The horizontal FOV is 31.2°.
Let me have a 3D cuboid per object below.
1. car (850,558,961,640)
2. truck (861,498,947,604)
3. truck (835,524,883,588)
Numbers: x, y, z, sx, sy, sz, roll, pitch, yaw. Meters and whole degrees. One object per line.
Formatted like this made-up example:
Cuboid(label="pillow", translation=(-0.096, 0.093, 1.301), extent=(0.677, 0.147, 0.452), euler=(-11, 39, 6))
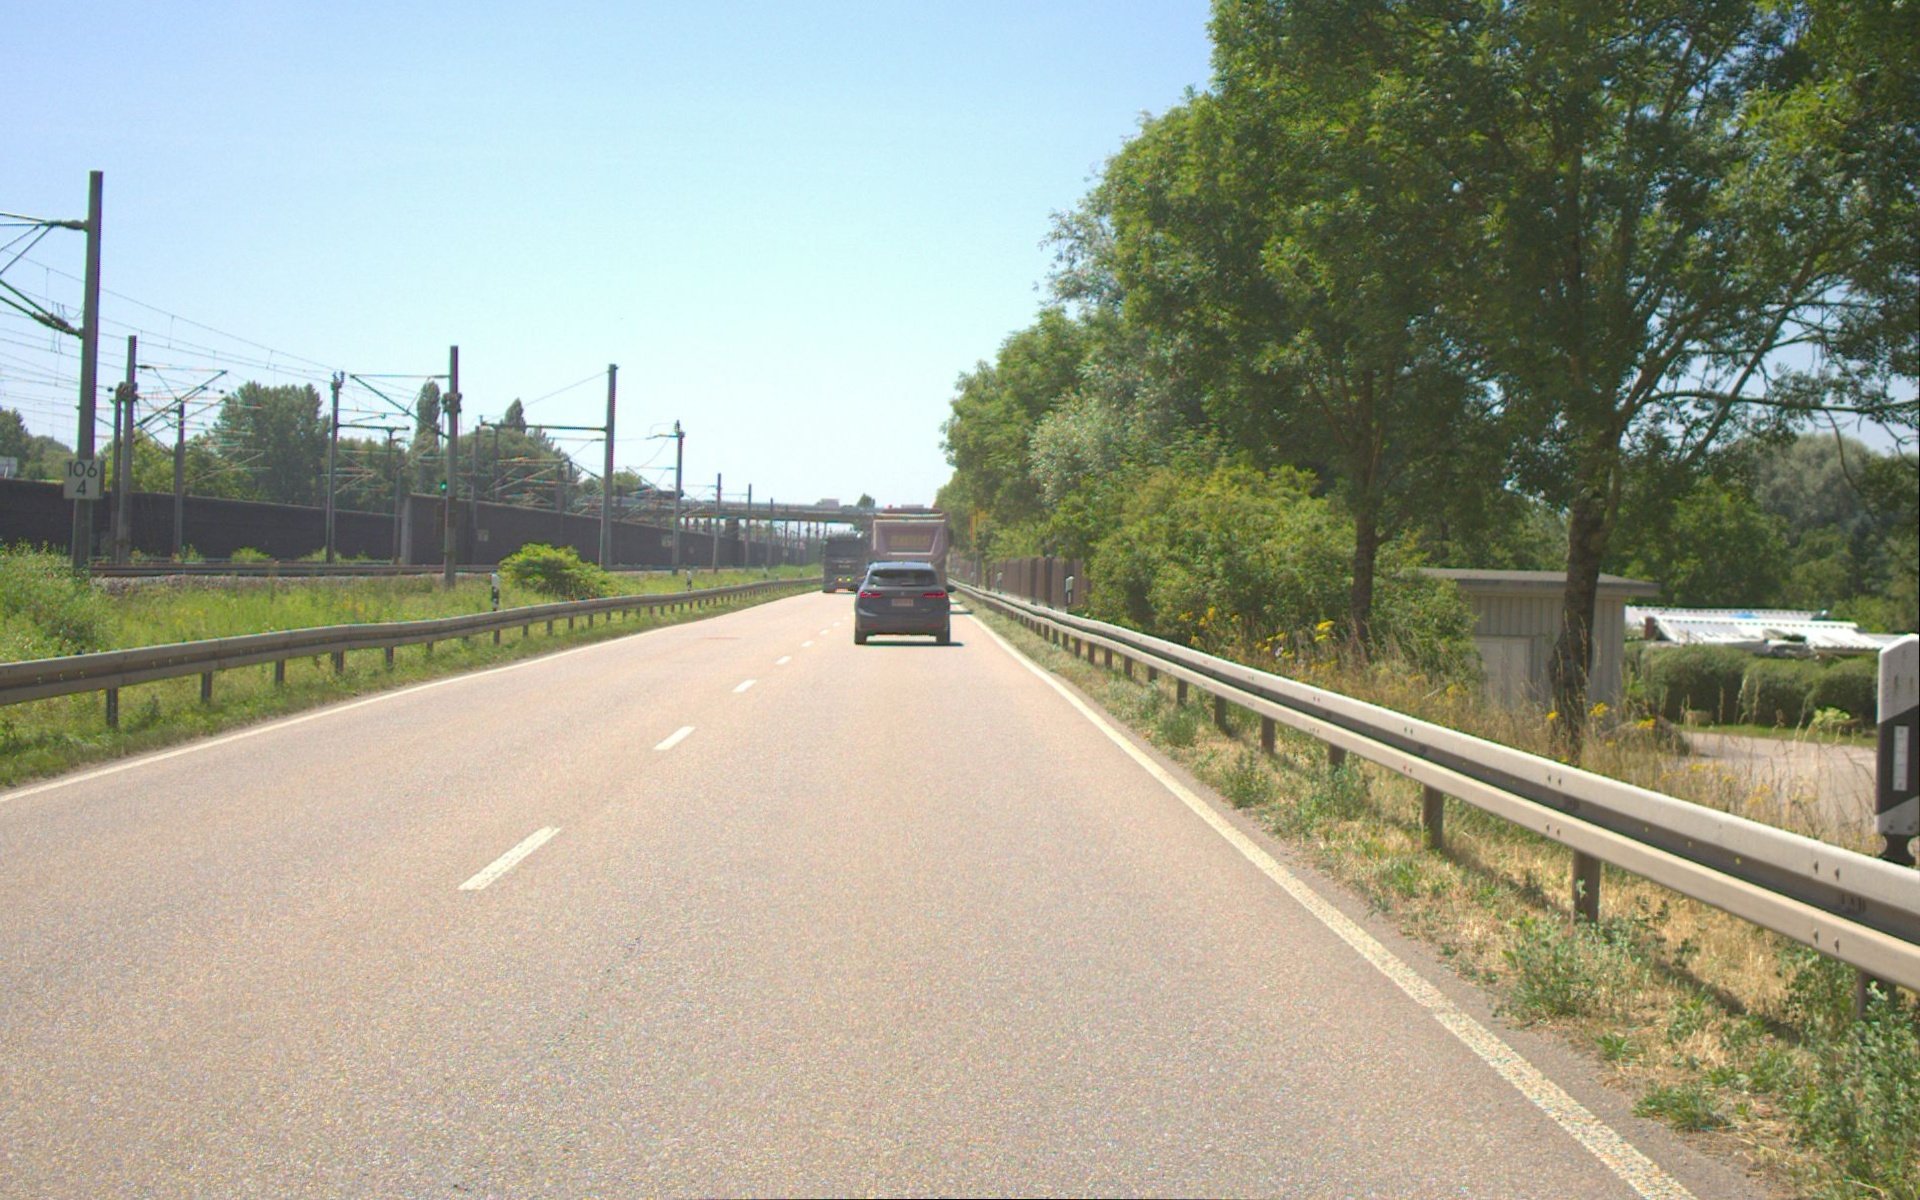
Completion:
Cuboid(label="car", translation=(-1.076, -0.049, 65.737), extent=(1.993, 1.503, 4.001), euler=(0, 1, -3))
Cuboid(label="truck", translation=(-1.904, -1.662, 118.392), extent=(2.770, 3.414, 10.820), euler=(1, 1, -1))
Cuboid(label="truck", translation=(-5.949, -2.615, 201.928), extent=(2.658, 3.614, 10.979), euler=(1, 1, -2))
